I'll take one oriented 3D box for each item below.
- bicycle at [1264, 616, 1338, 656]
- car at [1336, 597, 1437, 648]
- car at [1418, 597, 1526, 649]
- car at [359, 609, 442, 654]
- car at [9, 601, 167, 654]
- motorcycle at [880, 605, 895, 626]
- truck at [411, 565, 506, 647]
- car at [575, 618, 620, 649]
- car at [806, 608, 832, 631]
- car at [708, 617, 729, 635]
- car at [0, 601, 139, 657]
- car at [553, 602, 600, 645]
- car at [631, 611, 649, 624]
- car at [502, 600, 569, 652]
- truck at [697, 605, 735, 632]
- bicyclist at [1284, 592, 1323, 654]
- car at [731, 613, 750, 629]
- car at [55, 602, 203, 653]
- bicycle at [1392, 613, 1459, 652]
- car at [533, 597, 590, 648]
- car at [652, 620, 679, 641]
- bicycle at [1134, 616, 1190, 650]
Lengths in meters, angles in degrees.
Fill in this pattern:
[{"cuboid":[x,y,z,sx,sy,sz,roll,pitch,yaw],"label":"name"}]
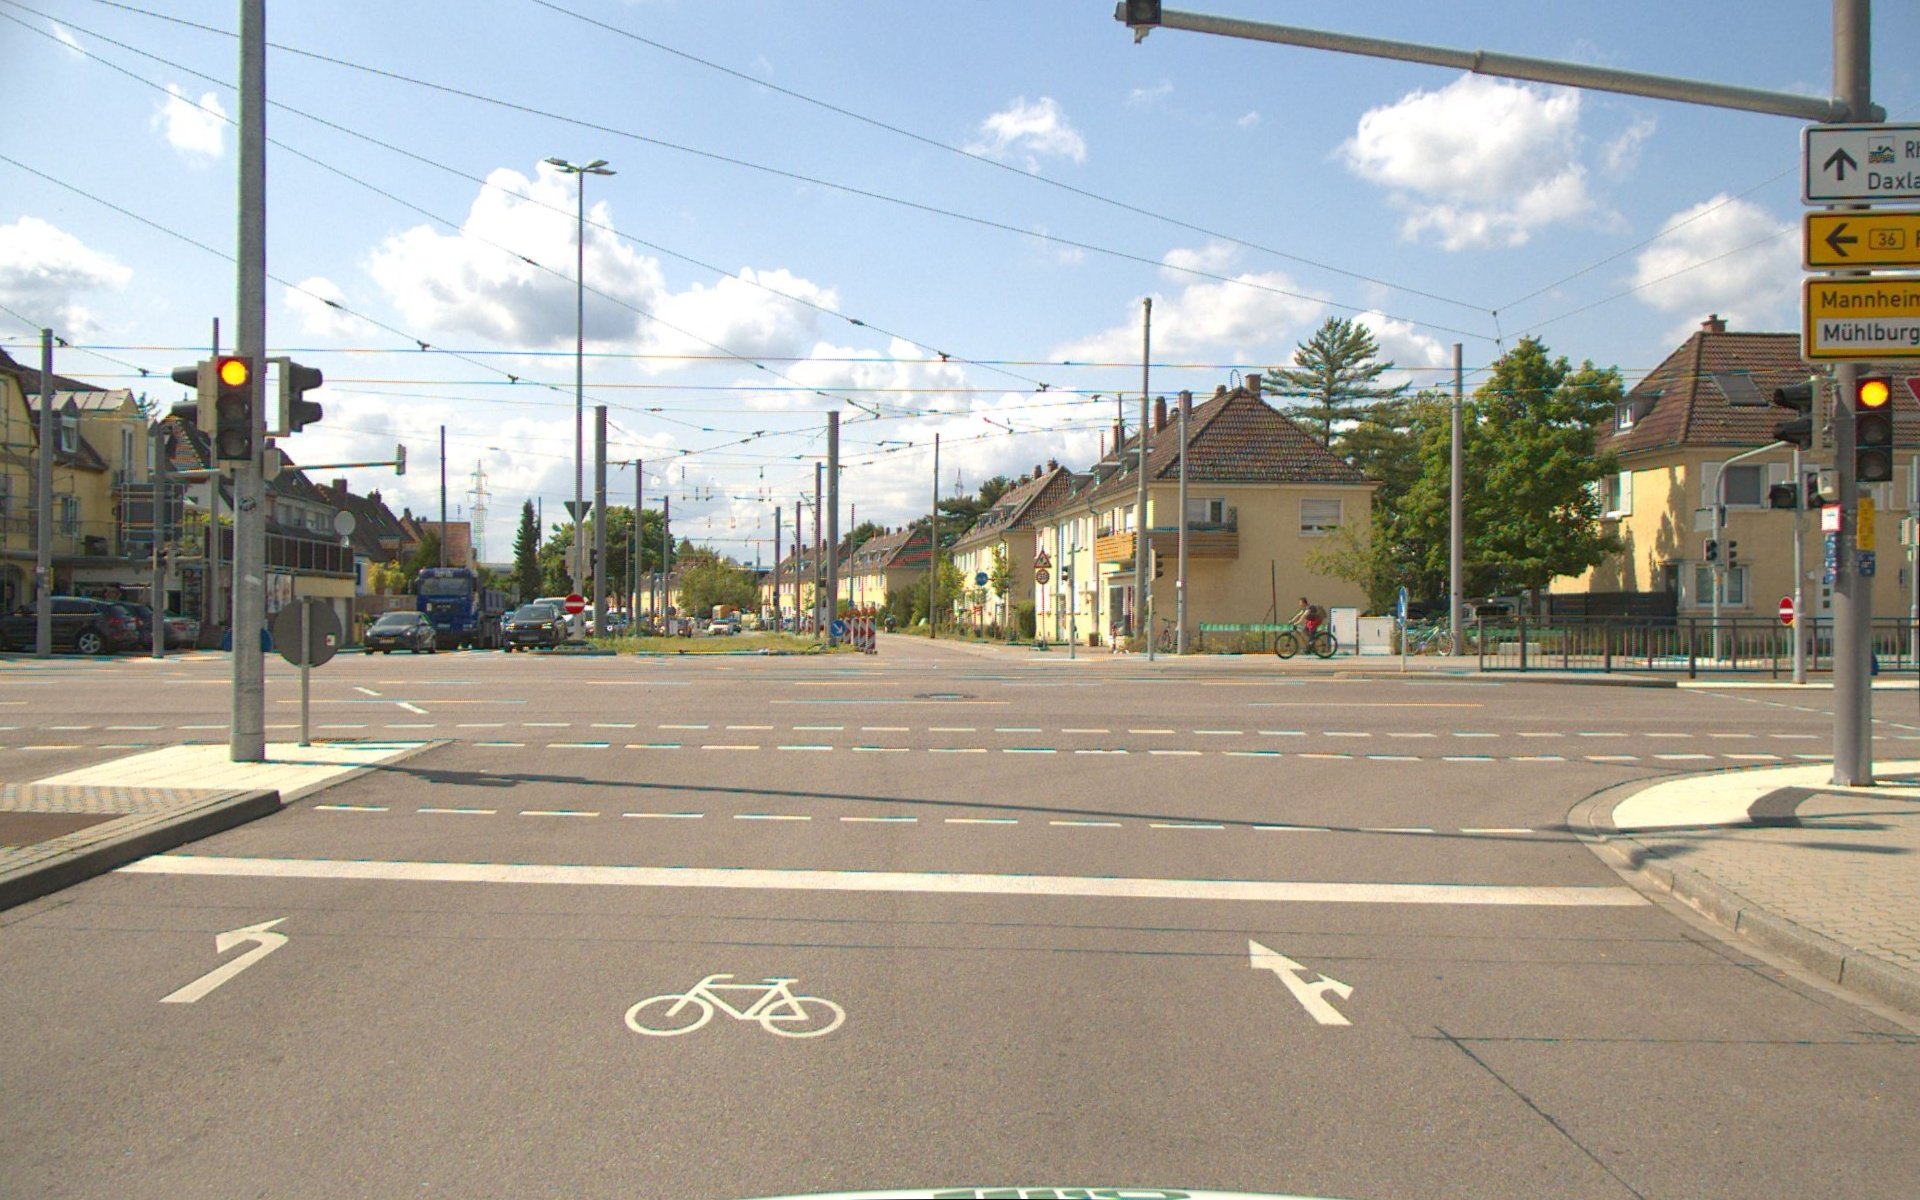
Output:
[{"cuboid":[9.887,1.038,47.945,1.989,1.121,0.714,0,-1,-8],"label":"bicycle"},{"cuboid":[14.297,0.791,55.608,1.789,1.649,3.990,0,-2,-10],"label":"car"},{"cuboid":[17.059,0.791,55.286,1.789,1.649,3.990,0,-2,-10],"label":"car"},{"cuboid":[-19.491,1.088,57.773,1.792,1.513,4.328,0,-1,-6],"label":"car"},{"cuboid":[-27.296,0.857,51.876,4.058,1.519,1.504,2,-1,-9],"label":"car"},{"cuboid":[-5.784,1.218,131.958,1.046,1.664,2.079,0,-1,-9],"label":"motorcycle"},{"cuboid":[-20.923,0.304,69.359,2.717,3.244,7.567,0,-1,-9],"label":"truck"},{"cuboid":[-17.623,1.609,80.507,1.879,1.444,3.992,0,-1,-9],"label":"car"},{"cuboid":[-13.448,1.878,157.048,2.028,2.187,4.866,0,-1,-10],"label":"car"},{"cuboid":[-21.827,2.378,149.641,1.808,1.589,4.180,0,-1,-7],"label":"car"},{"cuboid":[-26.815,0.857,49.207,4.058,1.519,1.177,2,-1,-9],"label":"car"},{"cuboid":[-17.017,1.036,73.577,1.700,1.813,4.396,0,-1,-9],"label":"car"},{"cuboid":[-47.872,2.602,247.100,1.966,1.944,3.973,0,0,-22],"label":"car"},{"cuboid":[-15.170,0.899,59.320,1.752,1.751,4.434,0,0,-7],"label":"car"},{"cuboid":[-32.024,2.444,217.012,2.606,3.555,9.366,0,-1,-24],"label":"truck"},{"cuboid":[10.004,0.671,48.193,0.939,1.806,0.718,0,-1,-8],"label":"bicyclist"},{"cuboid":[-23.380,2.222,176.553,1.783,1.579,3.997,0,0,-4],"label":"car"},{"cuboid":[-27.369,0.903,54.586,4.058,1.519,1.432,2,-1,-9],"label":"car"},{"cuboid":[13.699,0.937,48.699,1.773,1.124,0.699,0,-1,39],"label":"bicycle"},{"cuboid":[-15.789,0.898,65.727,1.780,1.955,4.738,0,-1,-9],"label":"car"},{"cuboid":[-21.996,2.238,123.658,1.808,1.520,4.848,0,-1,-7],"label":"car"},{"cuboid":[6.783,1.109,55.743,0.587,1.116,2.251,1,-1,-32],"label":"bicycle"}]
